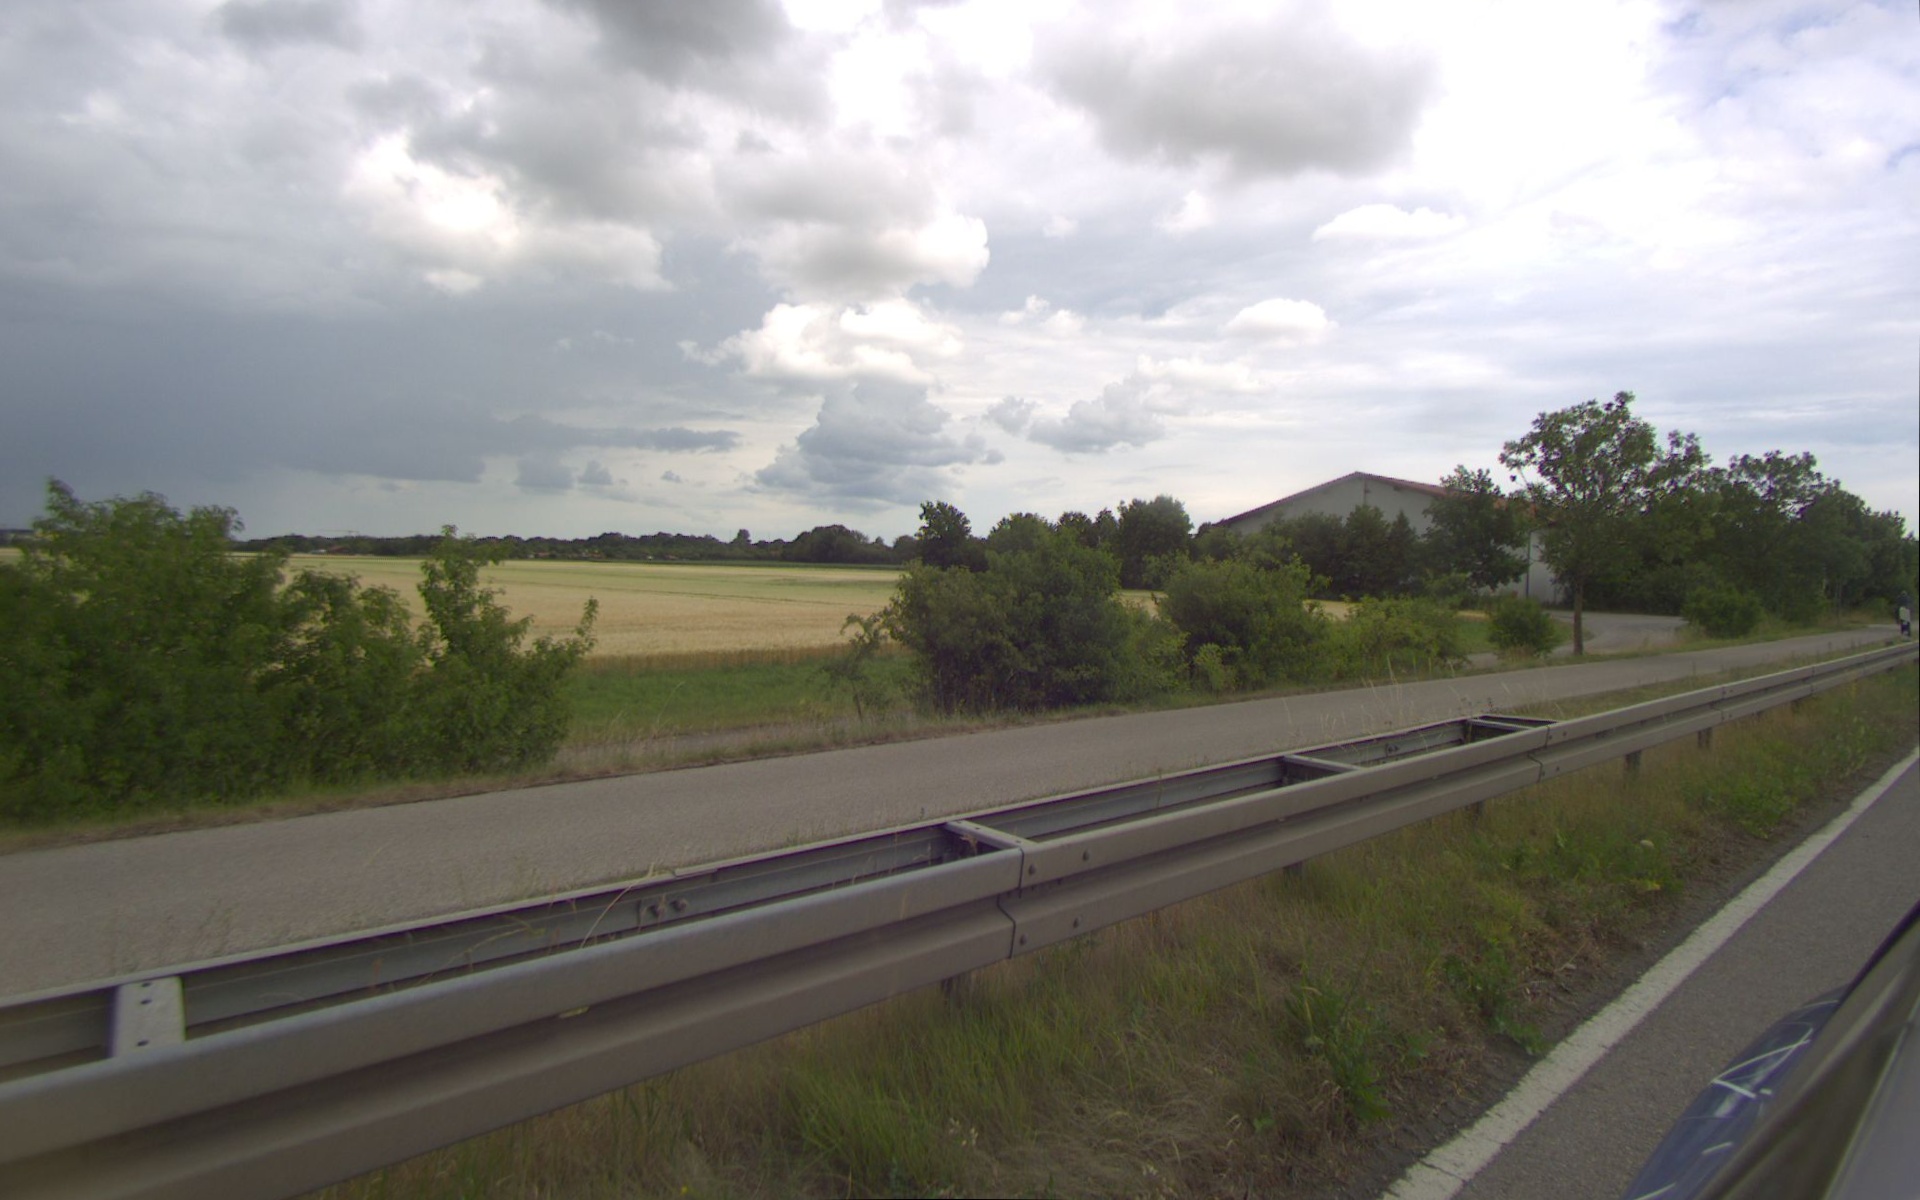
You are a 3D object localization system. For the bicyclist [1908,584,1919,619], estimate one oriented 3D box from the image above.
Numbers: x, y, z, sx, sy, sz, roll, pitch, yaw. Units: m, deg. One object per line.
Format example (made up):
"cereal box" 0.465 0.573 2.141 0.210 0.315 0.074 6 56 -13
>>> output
"bicyclist" 44.812 0.062 47.288 0.952 1.602 0.640 0 1 -41

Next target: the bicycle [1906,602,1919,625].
"bicycle" 44.754 0.628 47.258 2.037 0.990 0.640 0 2 -41
